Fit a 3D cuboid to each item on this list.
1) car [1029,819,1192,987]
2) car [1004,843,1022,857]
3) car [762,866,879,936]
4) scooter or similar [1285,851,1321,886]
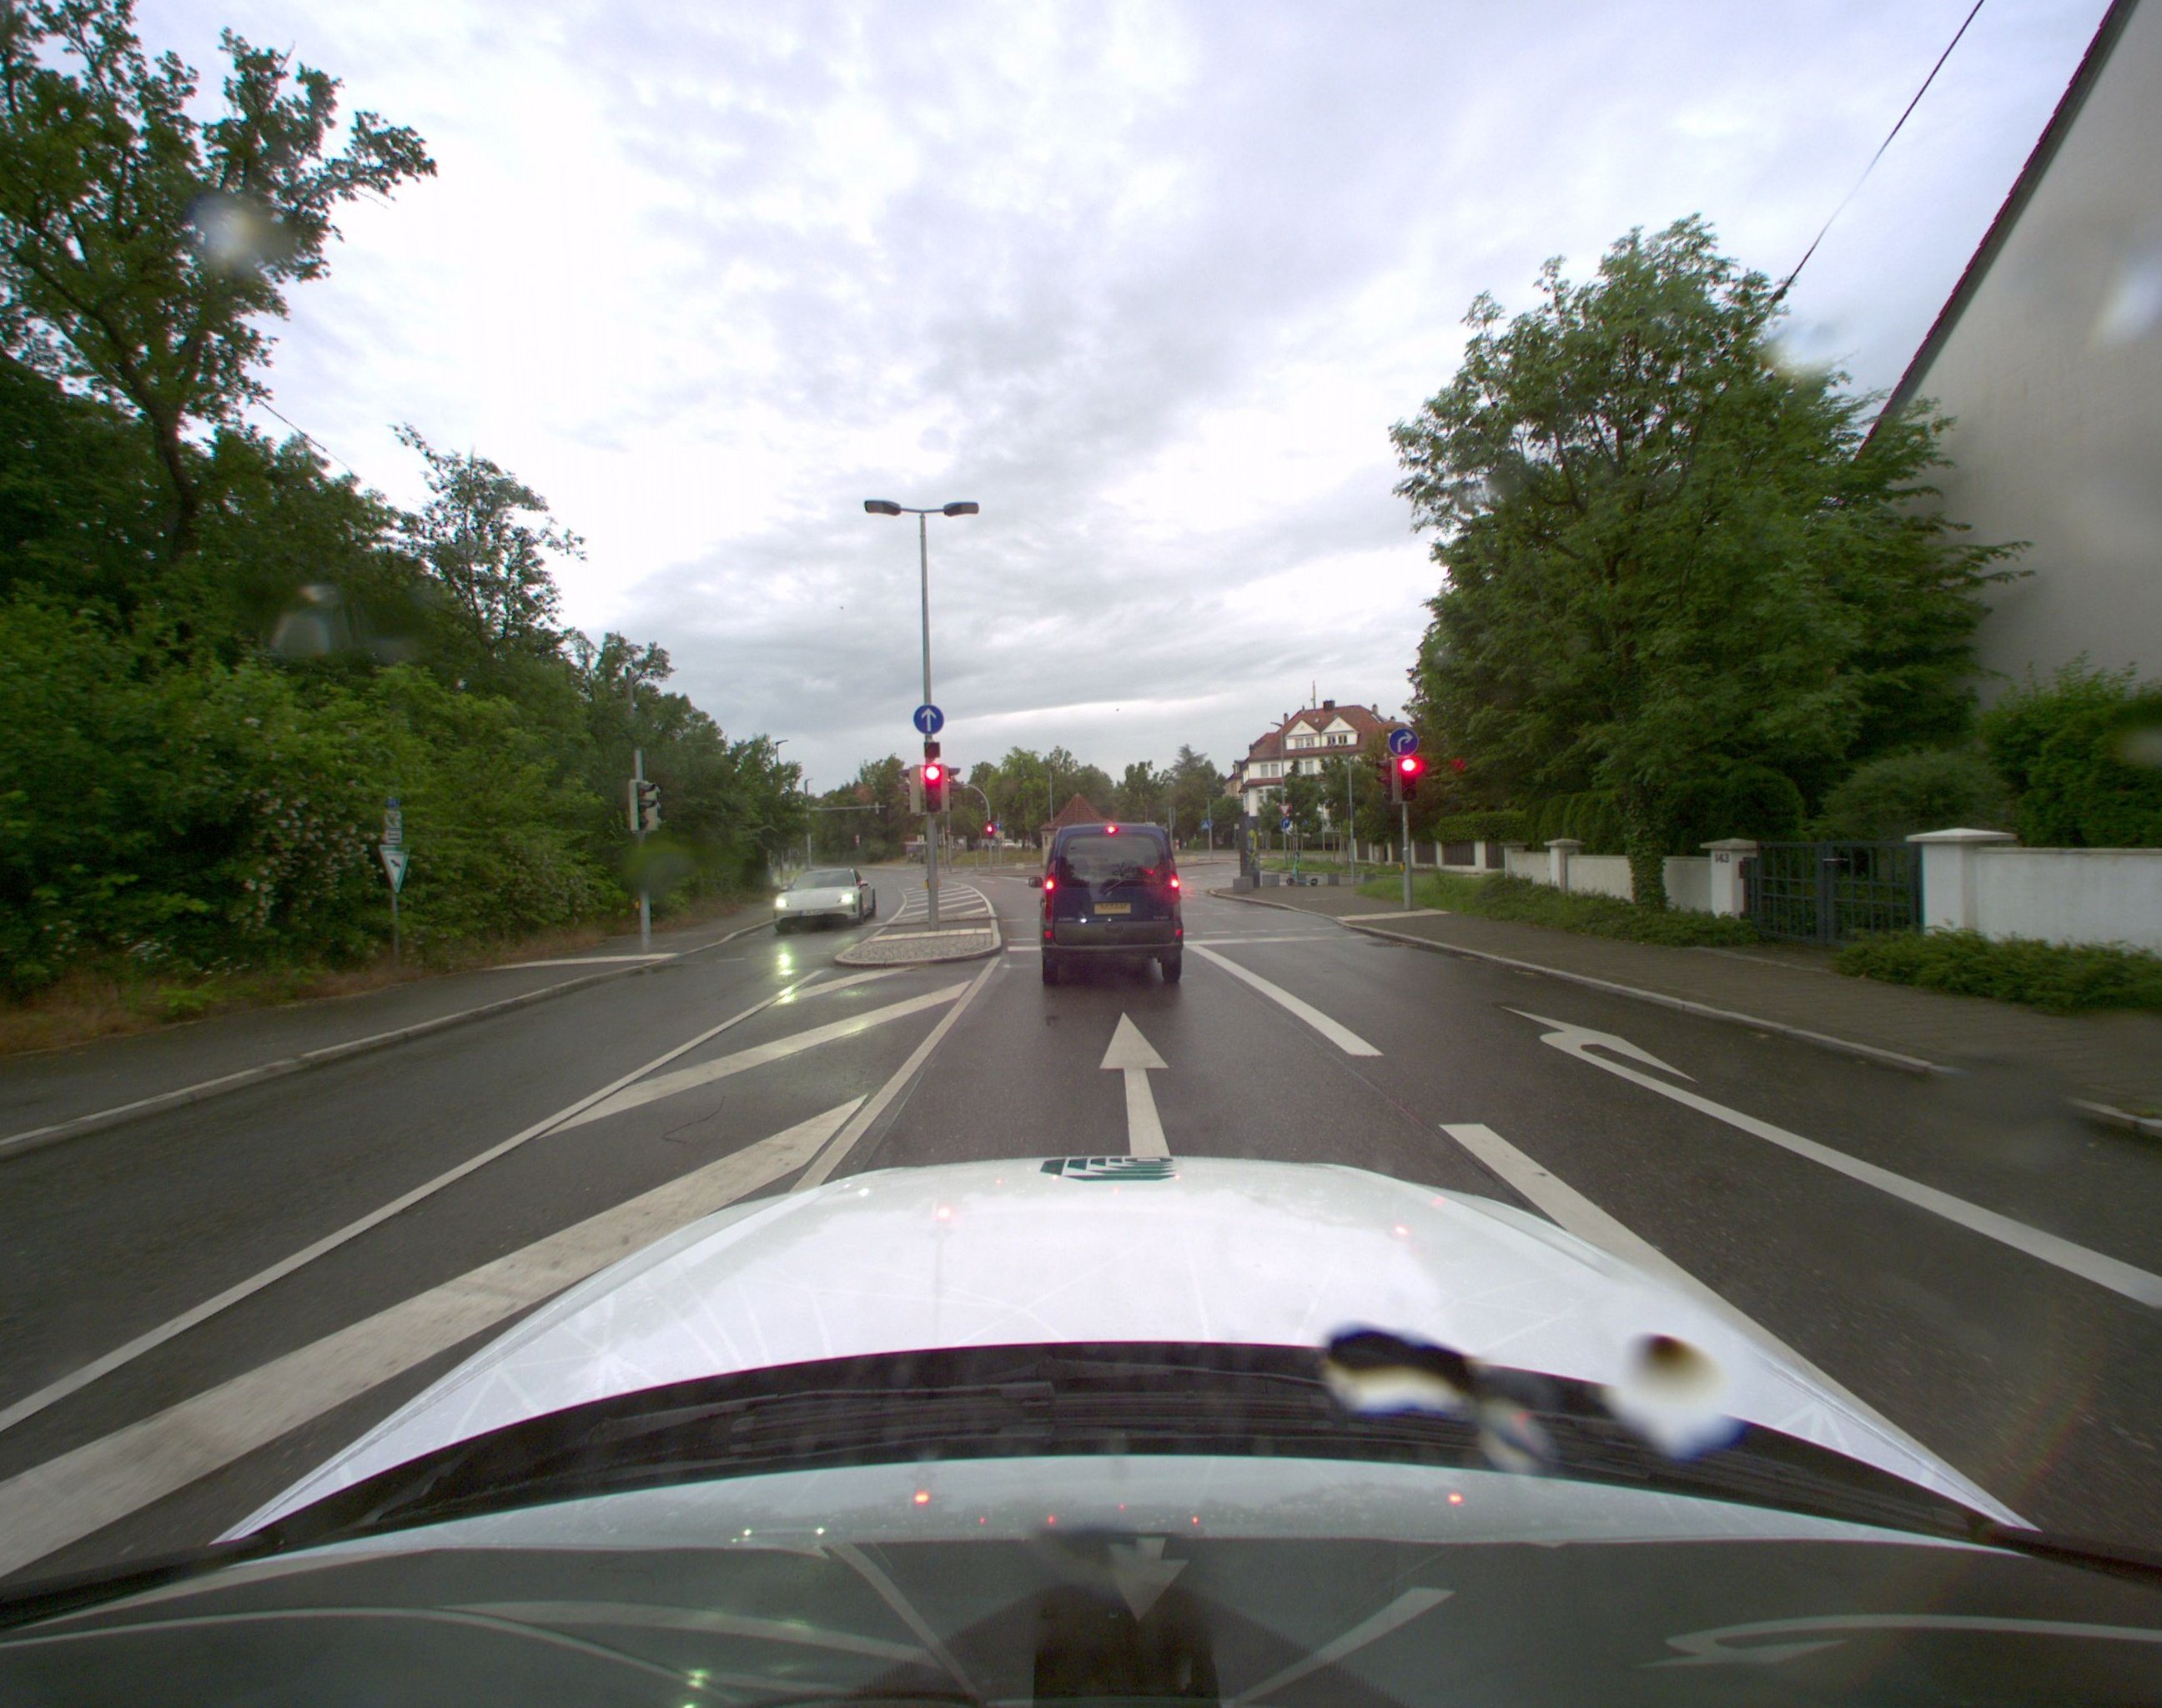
[{"bbox_3d":[0.319,0.515,10.791,1.726,1.786,3.999,-1,0,0],"label":"car"},{"bbox_3d":[-9.372,-0.561,112.084,1.986,1.812,4.001,-1,-1,2],"label":"car"},{"bbox_3d":[-6.354,1.077,20.384,1.993,1.311,4.346,-4,1,-8],"label":"car"},{"bbox_3d":[8.051,0.532,29.559,1.145,1.219,0.406,-2,-1,0],"label":"scooter or similar"}]
